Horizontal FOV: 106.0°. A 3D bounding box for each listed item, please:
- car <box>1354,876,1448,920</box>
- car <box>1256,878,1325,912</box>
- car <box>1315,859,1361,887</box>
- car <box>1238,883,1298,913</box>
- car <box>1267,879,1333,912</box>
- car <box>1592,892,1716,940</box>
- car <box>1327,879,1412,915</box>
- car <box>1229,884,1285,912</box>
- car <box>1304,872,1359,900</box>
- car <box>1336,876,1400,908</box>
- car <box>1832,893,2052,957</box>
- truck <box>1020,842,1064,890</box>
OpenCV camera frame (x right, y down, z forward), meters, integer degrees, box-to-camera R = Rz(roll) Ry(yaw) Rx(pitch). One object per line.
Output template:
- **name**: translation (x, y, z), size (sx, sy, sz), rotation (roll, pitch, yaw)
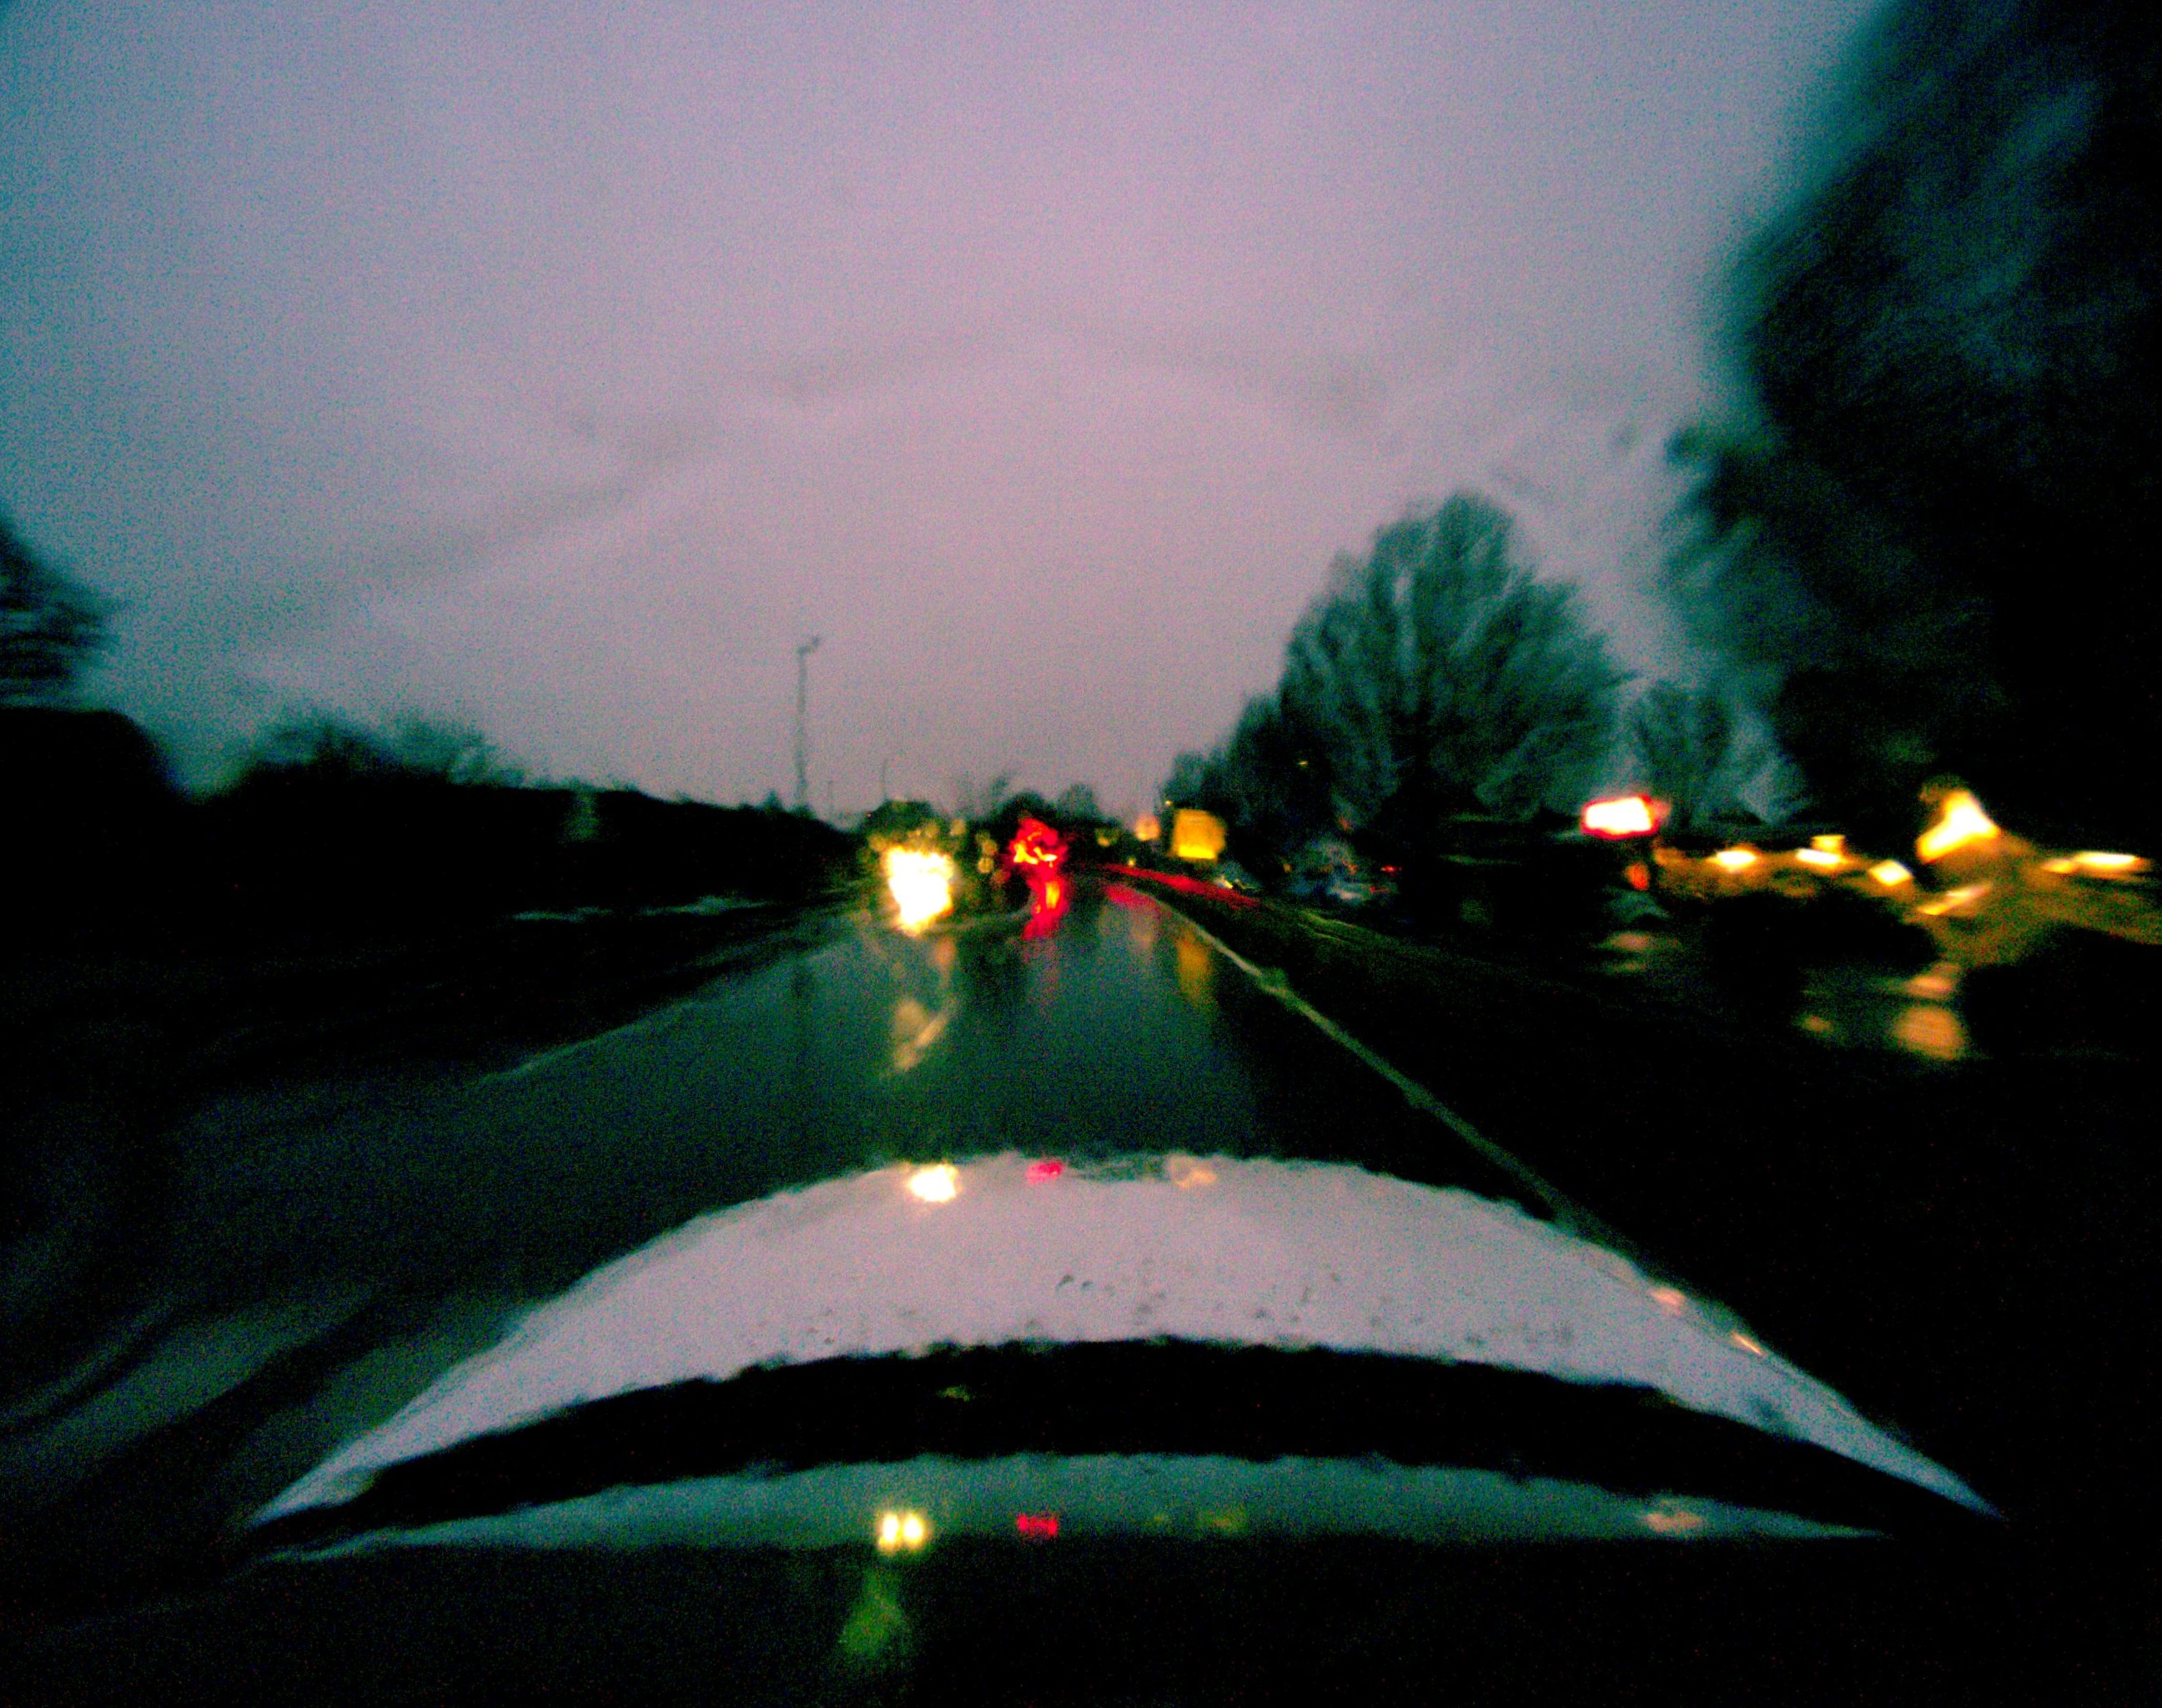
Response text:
- **car**: translation (15.518, 2.131, 39.738), size (3.962, 2.014, 2.005), rotation (0, -3, 10)
- **car**: translation (12.817, 2.504, 50.013), size (3.962, 2.014, 2.005), rotation (0, -3, 10)
- **car**: translation (26.700, 2.002, 84.648), size (4.311, 2.758, 2.112), rotation (-1, -4, 25)
- **car**: translation (12.900, 3.030, 56.323), size (3.962, 2.014, 2.005), rotation (0, -3, 10)
- **car**: translation (14.048, 2.657, 52.538), size (3.962, 2.014, 2.005), rotation (0, -3, 10)
- **car**: translation (25.071, 2.678, 35.794), size (4.309, 1.918, 2.113), rotation (-1, -4, 35)
- **car**: translation (15.100, 2.268, 42.835), size (3.962, 1.794, 2.005), rotation (0, -3, 10)
- **car**: translation (12.831, 3.207, 59.557), size (3.962, 2.014, 2.005), rotation (0, -3, 10)
- **car**: translation (21.897, 2.810, 71.107), size (4.311, 2.379, 2.112), rotation (-1, -4, 25)
- **car**: translation (22.523, 2.987, 63.874), size (4.309, 2.379, 2.113), rotation (-1, -4, 35)
- **car**: translation (26.219, 2.119, 25.072), size (4.309, 1.767, 2.113), rotation (-2, -4, 37)
- **truck**: translation (-2.633, 0.729, 52.950), size (2.528, 2.869, 5.911), rotation (1, 0, -6)
